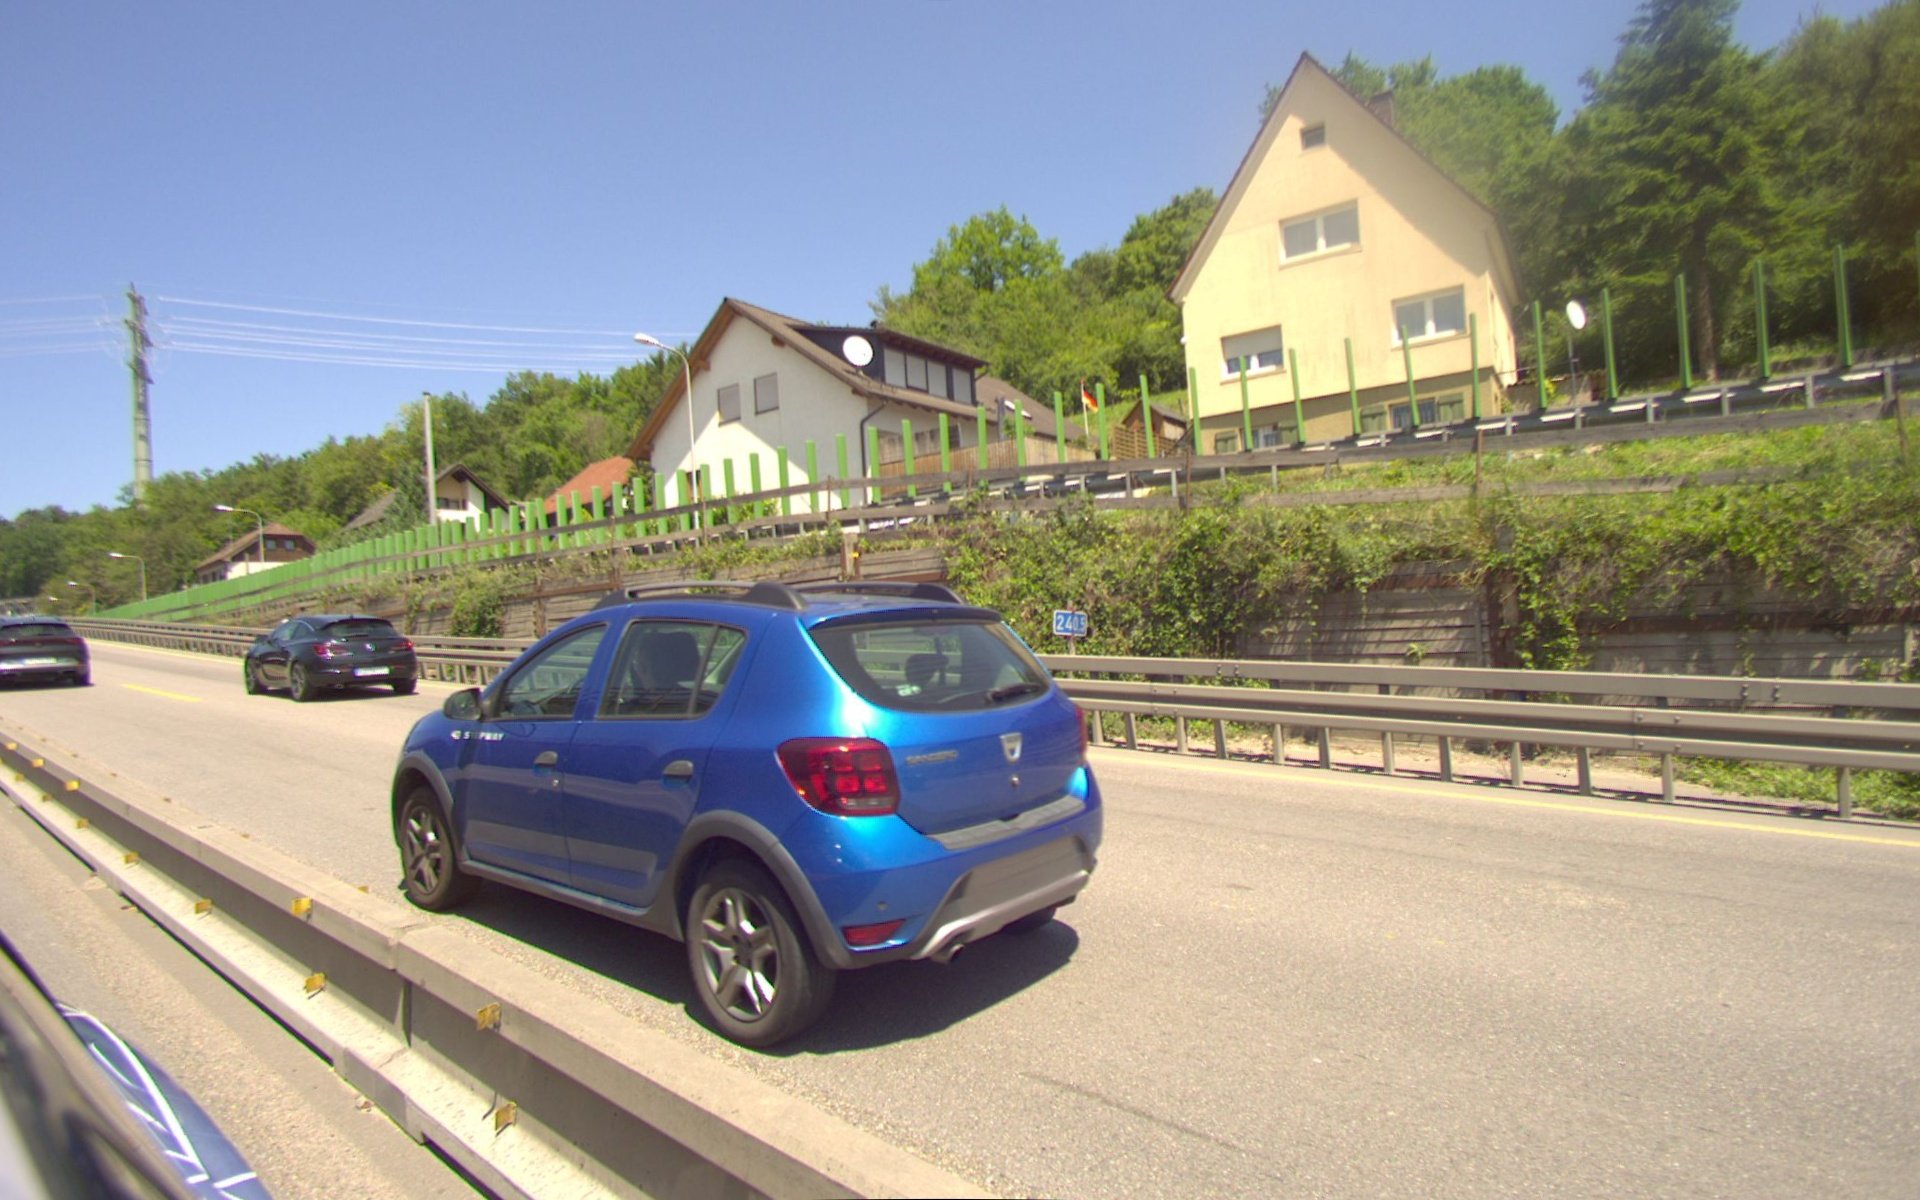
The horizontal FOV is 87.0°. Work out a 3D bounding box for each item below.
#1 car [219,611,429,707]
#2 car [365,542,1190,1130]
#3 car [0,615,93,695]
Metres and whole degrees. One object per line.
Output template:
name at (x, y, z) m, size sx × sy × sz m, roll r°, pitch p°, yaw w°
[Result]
car at (-11.754, 0.978, 18.567) m, size 5.003 × 1.459 × 1.795 m, roll 0°, pitch 2°, yaw 40°
car at (-1.104, 0.681, 4.740) m, size 3.889 × 1.622 × 1.745 m, roll -1°, pitch -1°, yaw 41°
car at (-20.204, 1.112, 21.711) m, size 4.291 × 1.541 × 1.824 m, roll 0°, pitch 0°, yaw 41°
